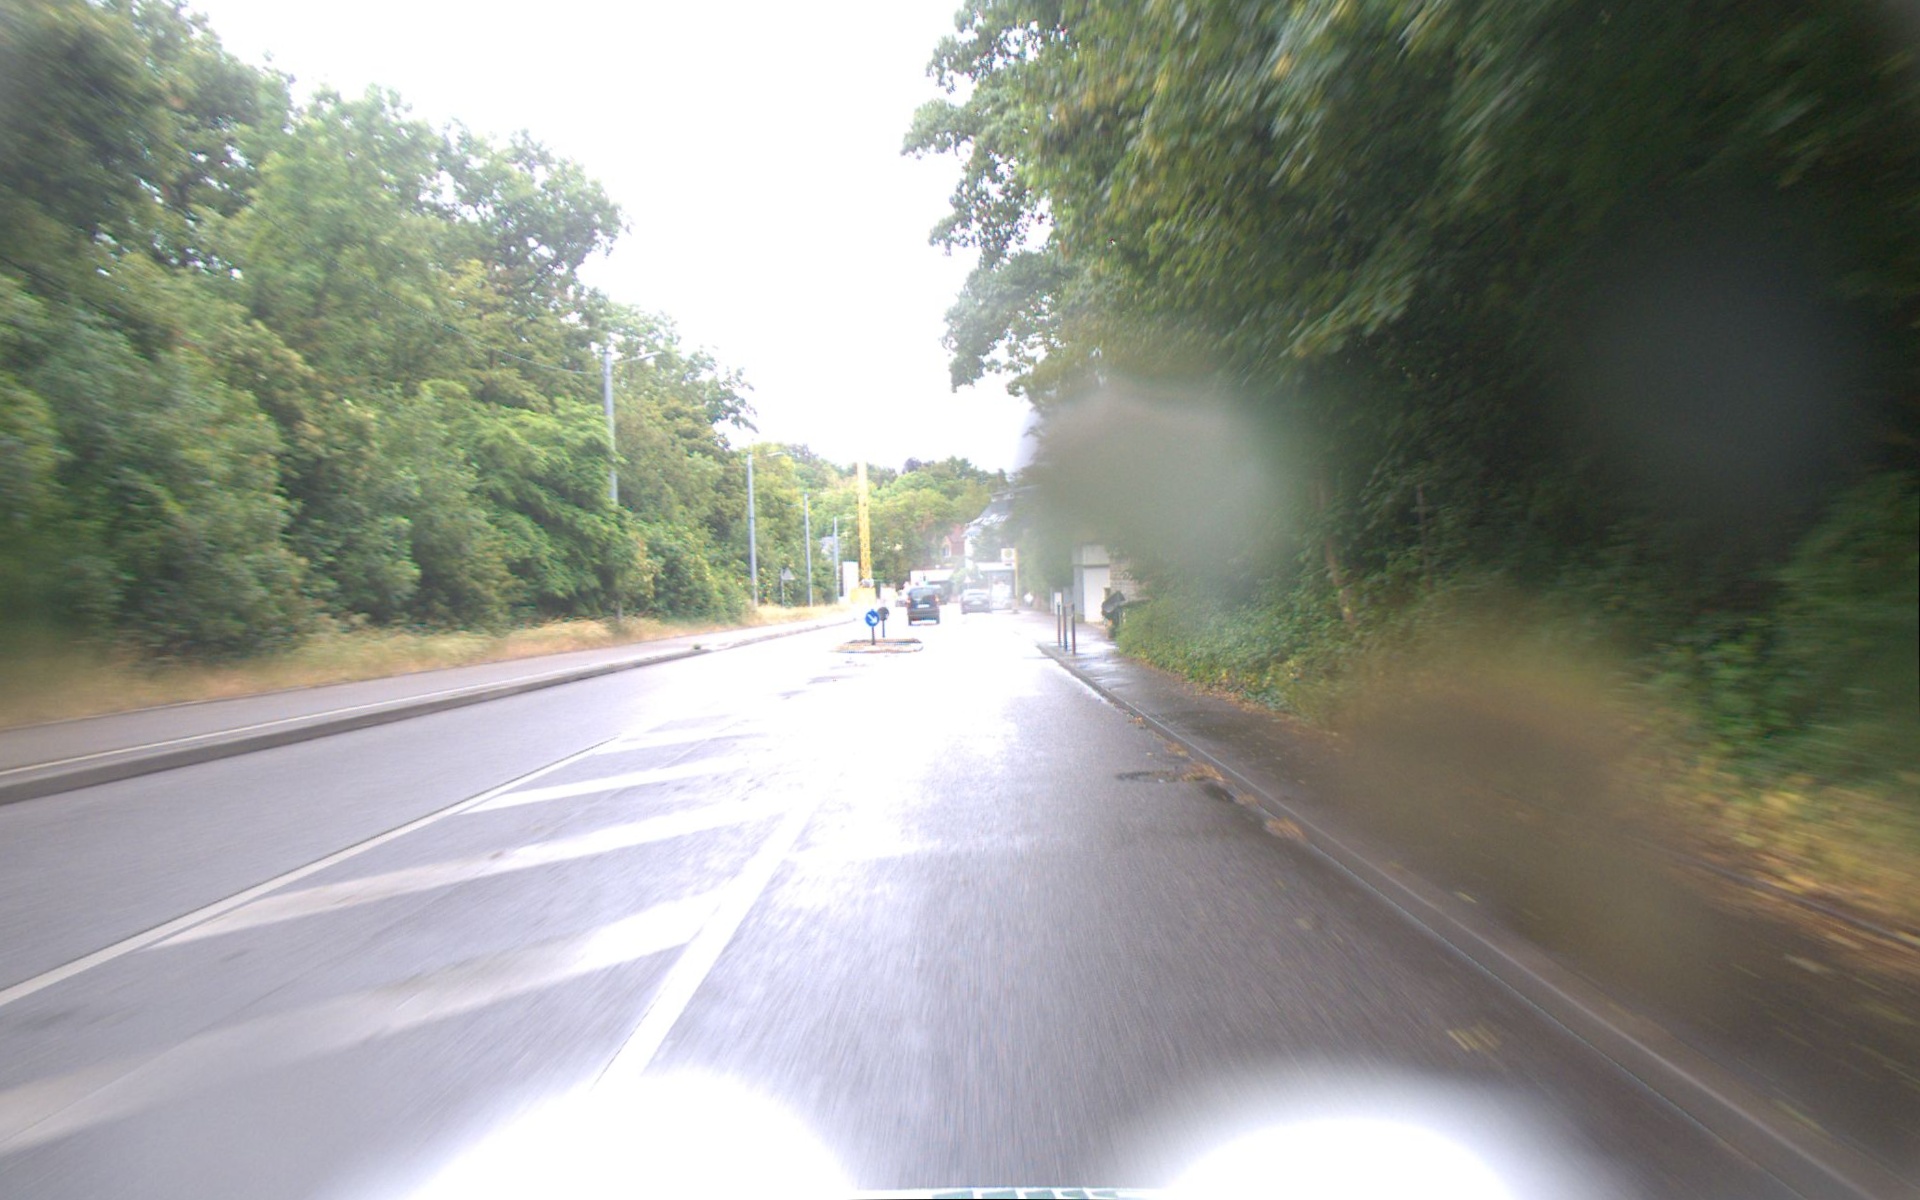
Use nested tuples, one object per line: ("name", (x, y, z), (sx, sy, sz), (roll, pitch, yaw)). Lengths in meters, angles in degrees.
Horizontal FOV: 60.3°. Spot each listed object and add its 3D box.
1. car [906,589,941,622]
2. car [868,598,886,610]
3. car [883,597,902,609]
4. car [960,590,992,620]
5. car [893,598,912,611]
("car", (-1.784, 0.265, 81.882), (1.633, 1.621, 3.683), (-1, 0, 1))
("car", (-11.135, 0.592, 221.102), (1.710, 1.579, 3.842), (-1, 0, -13))
("car", (-8.786, 0.357, 214.343), (1.710, 1.579, 3.842), (0, 0, -13))
("car", (0.999, 0.317, 104.034), (1.952, 1.803, 4.114), (1, 0, 0))
("car", (-7.289, 0.532, 209.081), (1.710, 1.579, 3.842), (-1, 0, -13))
